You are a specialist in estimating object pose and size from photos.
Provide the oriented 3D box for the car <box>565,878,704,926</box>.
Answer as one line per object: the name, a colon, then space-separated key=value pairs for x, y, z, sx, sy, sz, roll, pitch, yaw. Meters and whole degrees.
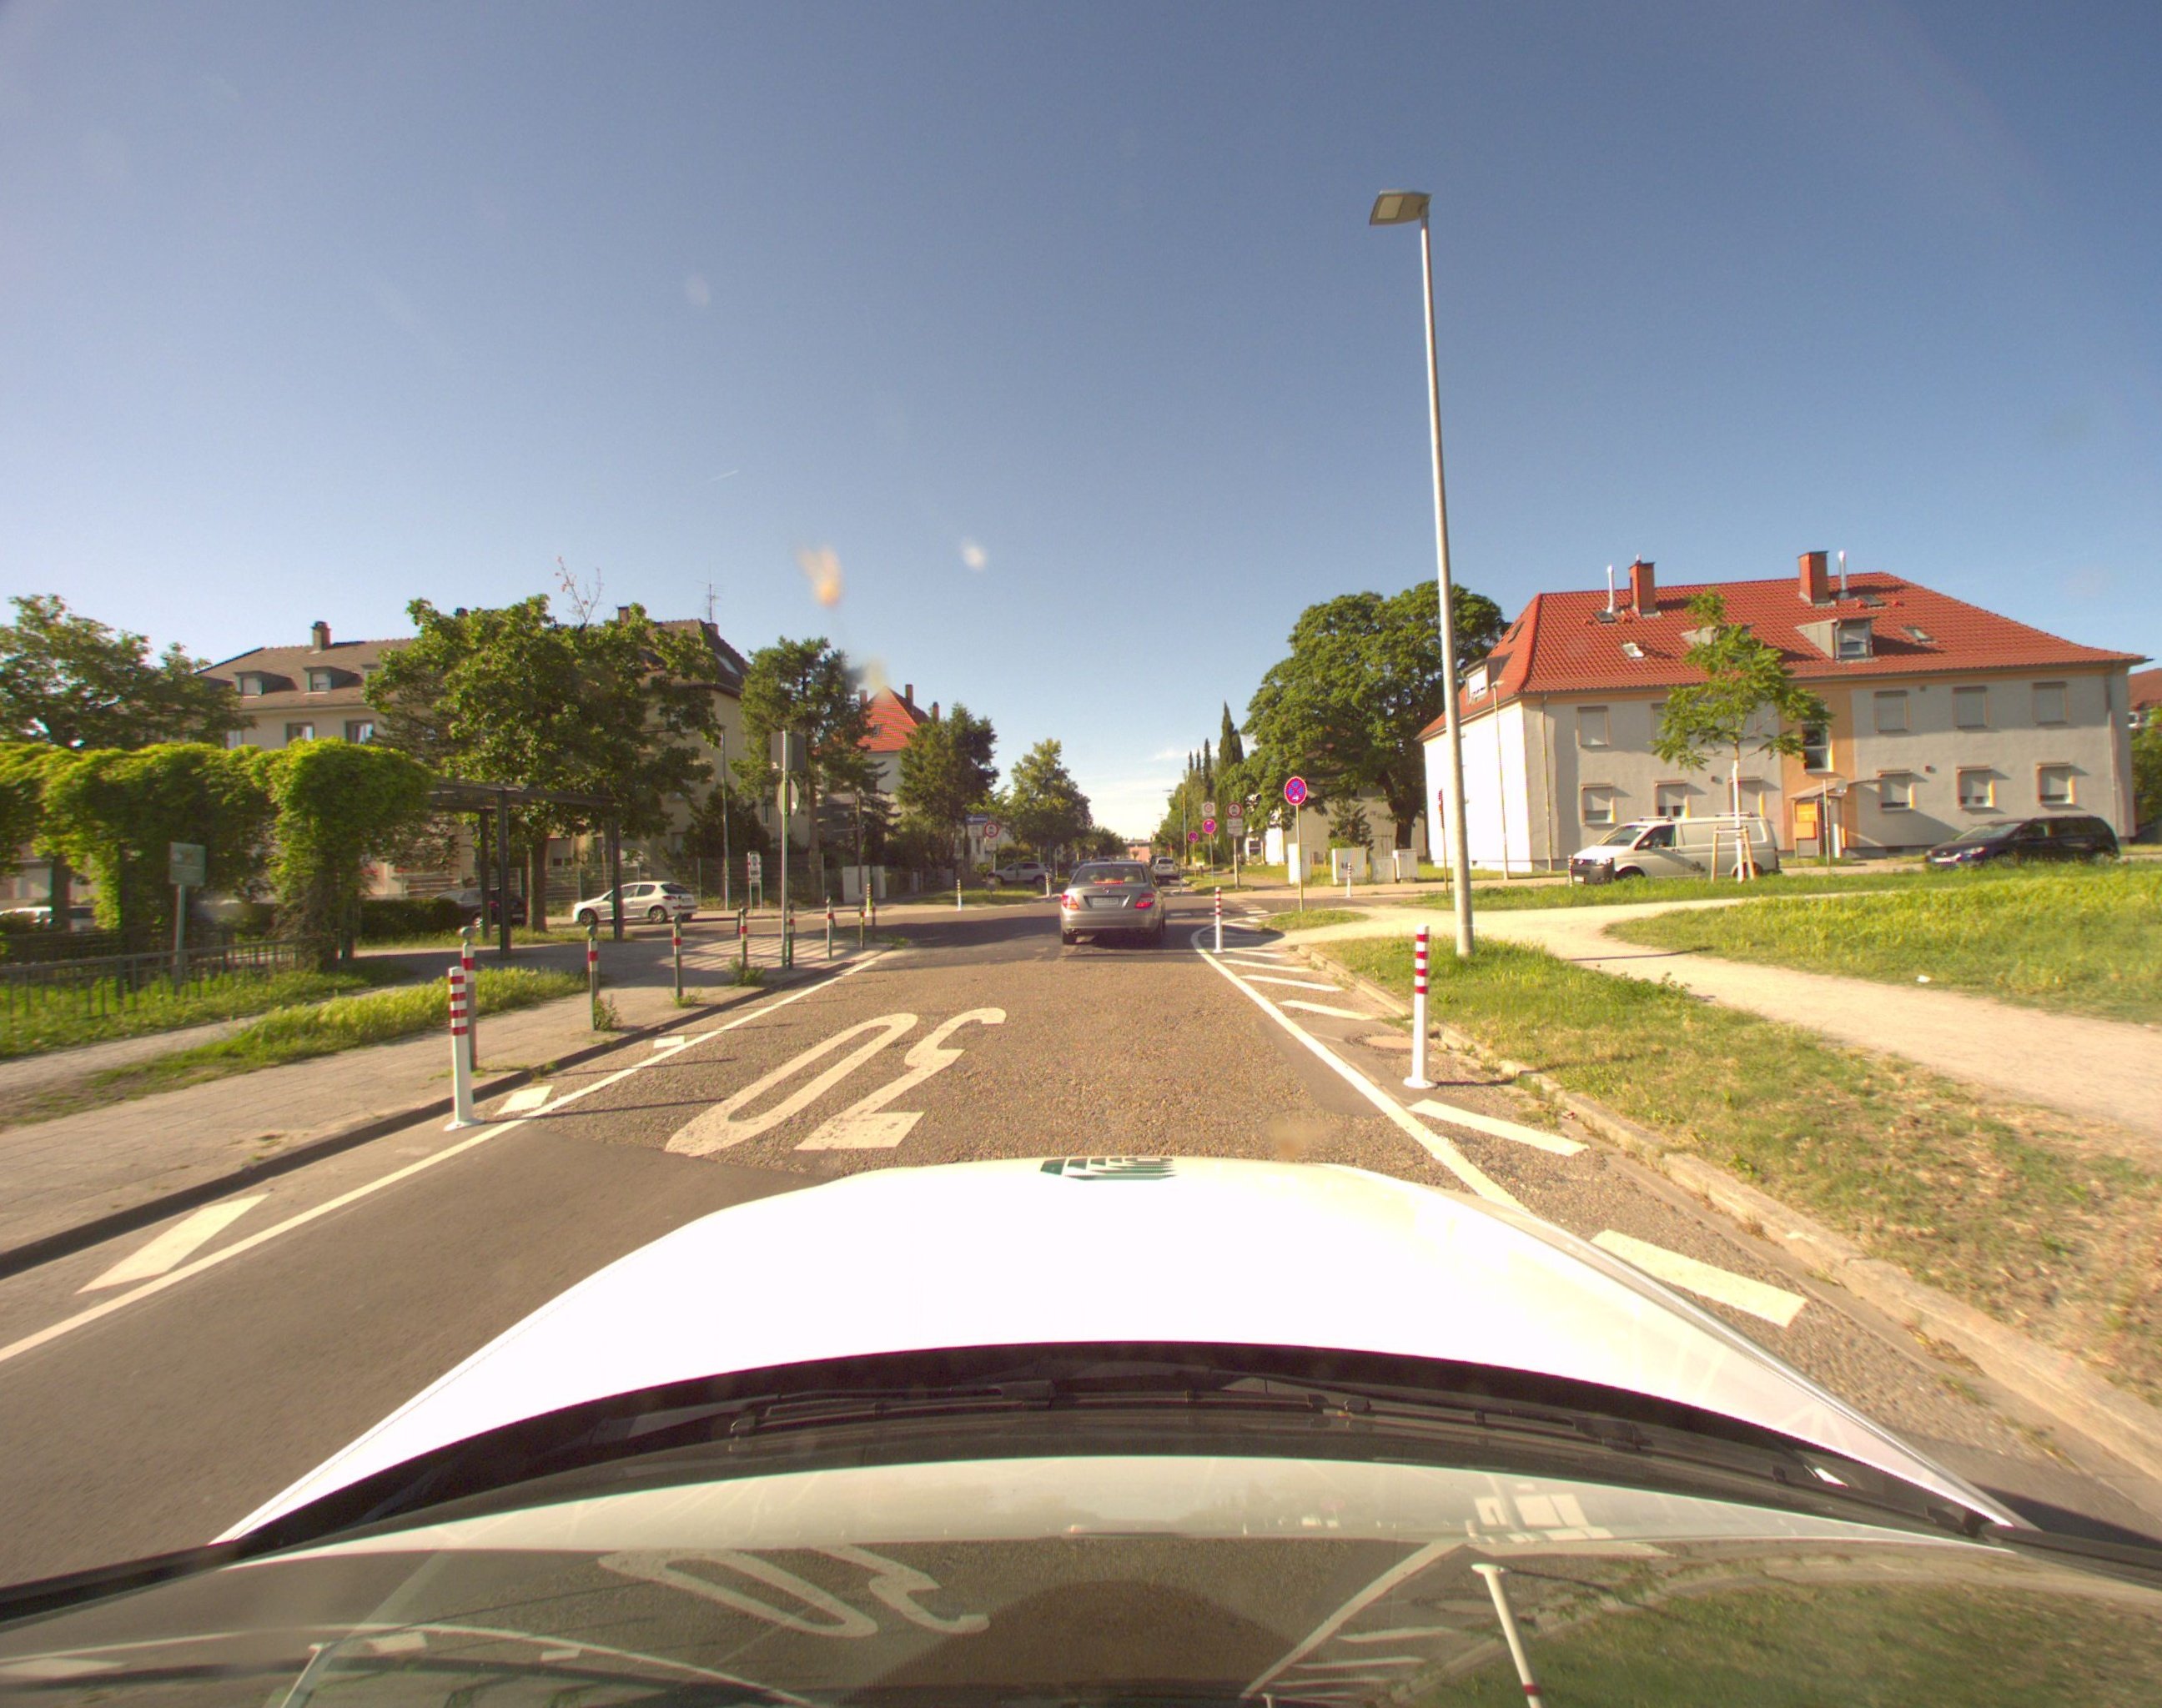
car: x=-15.033 y=1.593 z=27.537 sx=3.747 sy=1.398 sz=1.708 roll=-3 pitch=-1 yaw=4

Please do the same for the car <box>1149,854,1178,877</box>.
car: x=5.675 y=0.751 z=56.133 sx=1.726 sy=1.480 sz=3.727 roll=-3 pitch=0 yaw=2

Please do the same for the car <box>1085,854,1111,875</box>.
car: x=1.527 y=0.871 z=71.934 sx=1.986 sy=1.609 sz=4.002 roll=-6 pitch=0 yaw=2

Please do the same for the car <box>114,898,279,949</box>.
car: x=-30.965 y=2.423 z=28.583 sx=3.969 sy=1.494 sz=1.803 roll=-3 pitch=-1 yaw=4

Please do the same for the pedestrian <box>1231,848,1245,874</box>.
pedestrian: x=9.752 y=0.437 z=50.754 sx=0.761 sy=1.611 sz=0.836 roll=-3 pitch=0 yaw=9

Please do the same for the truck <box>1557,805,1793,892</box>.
truck: x=16.067 y=-0.130 z=22.257 sx=4.836 sy=2.036 sz=2.002 roll=-3 pitch=0 yaw=4

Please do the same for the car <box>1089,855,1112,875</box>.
car: x=1.920 y=1.011 z=77.720 sx=1.986 sy=1.609 sz=4.002 roll=-6 pitch=0 yaw=2

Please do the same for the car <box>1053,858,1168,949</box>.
car: x=0.672 y=0.820 z=15.285 sx=1.827 sy=1.441 sz=4.006 roll=-2 pitch=0 yaw=5

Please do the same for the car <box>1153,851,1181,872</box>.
car: x=7.057 y=0.589 z=66.897 sx=1.986 sy=1.609 sz=4.002 roll=-3 pitch=0 yaw=2

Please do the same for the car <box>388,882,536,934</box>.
car: x=-21.012 y=1.814 z=27.709 sx=3.796 sy=1.494 sz=1.679 roll=-3 pitch=-1 yaw=4

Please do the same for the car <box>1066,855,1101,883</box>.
car: x=0.208 y=0.972 z=54.152 sx=1.986 sy=1.609 sz=4.002 roll=-6 pitch=0 yaw=2

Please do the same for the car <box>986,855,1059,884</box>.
car: x=-3.505 y=0.912 z=49.227 sx=4.177 sy=1.564 sz=1.842 roll=-2 pitch=0 yaw=1

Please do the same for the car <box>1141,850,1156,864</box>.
car: x=9.238 y=0.426 z=111.916 sx=1.847 sy=1.841 sz=4.004 roll=-3 pitch=0 yaw=4

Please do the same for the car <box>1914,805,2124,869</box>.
car: x=27.875 y=-0.486 z=24.308 sx=4.032 sy=1.664 sz=1.724 roll=-3 pitch=0 yaw=4

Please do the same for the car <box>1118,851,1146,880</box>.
car: x=3.067 y=0.679 z=49.569 sx=1.591 sy=1.609 sz=3.646 roll=-3 pitch=0 yaw=2
